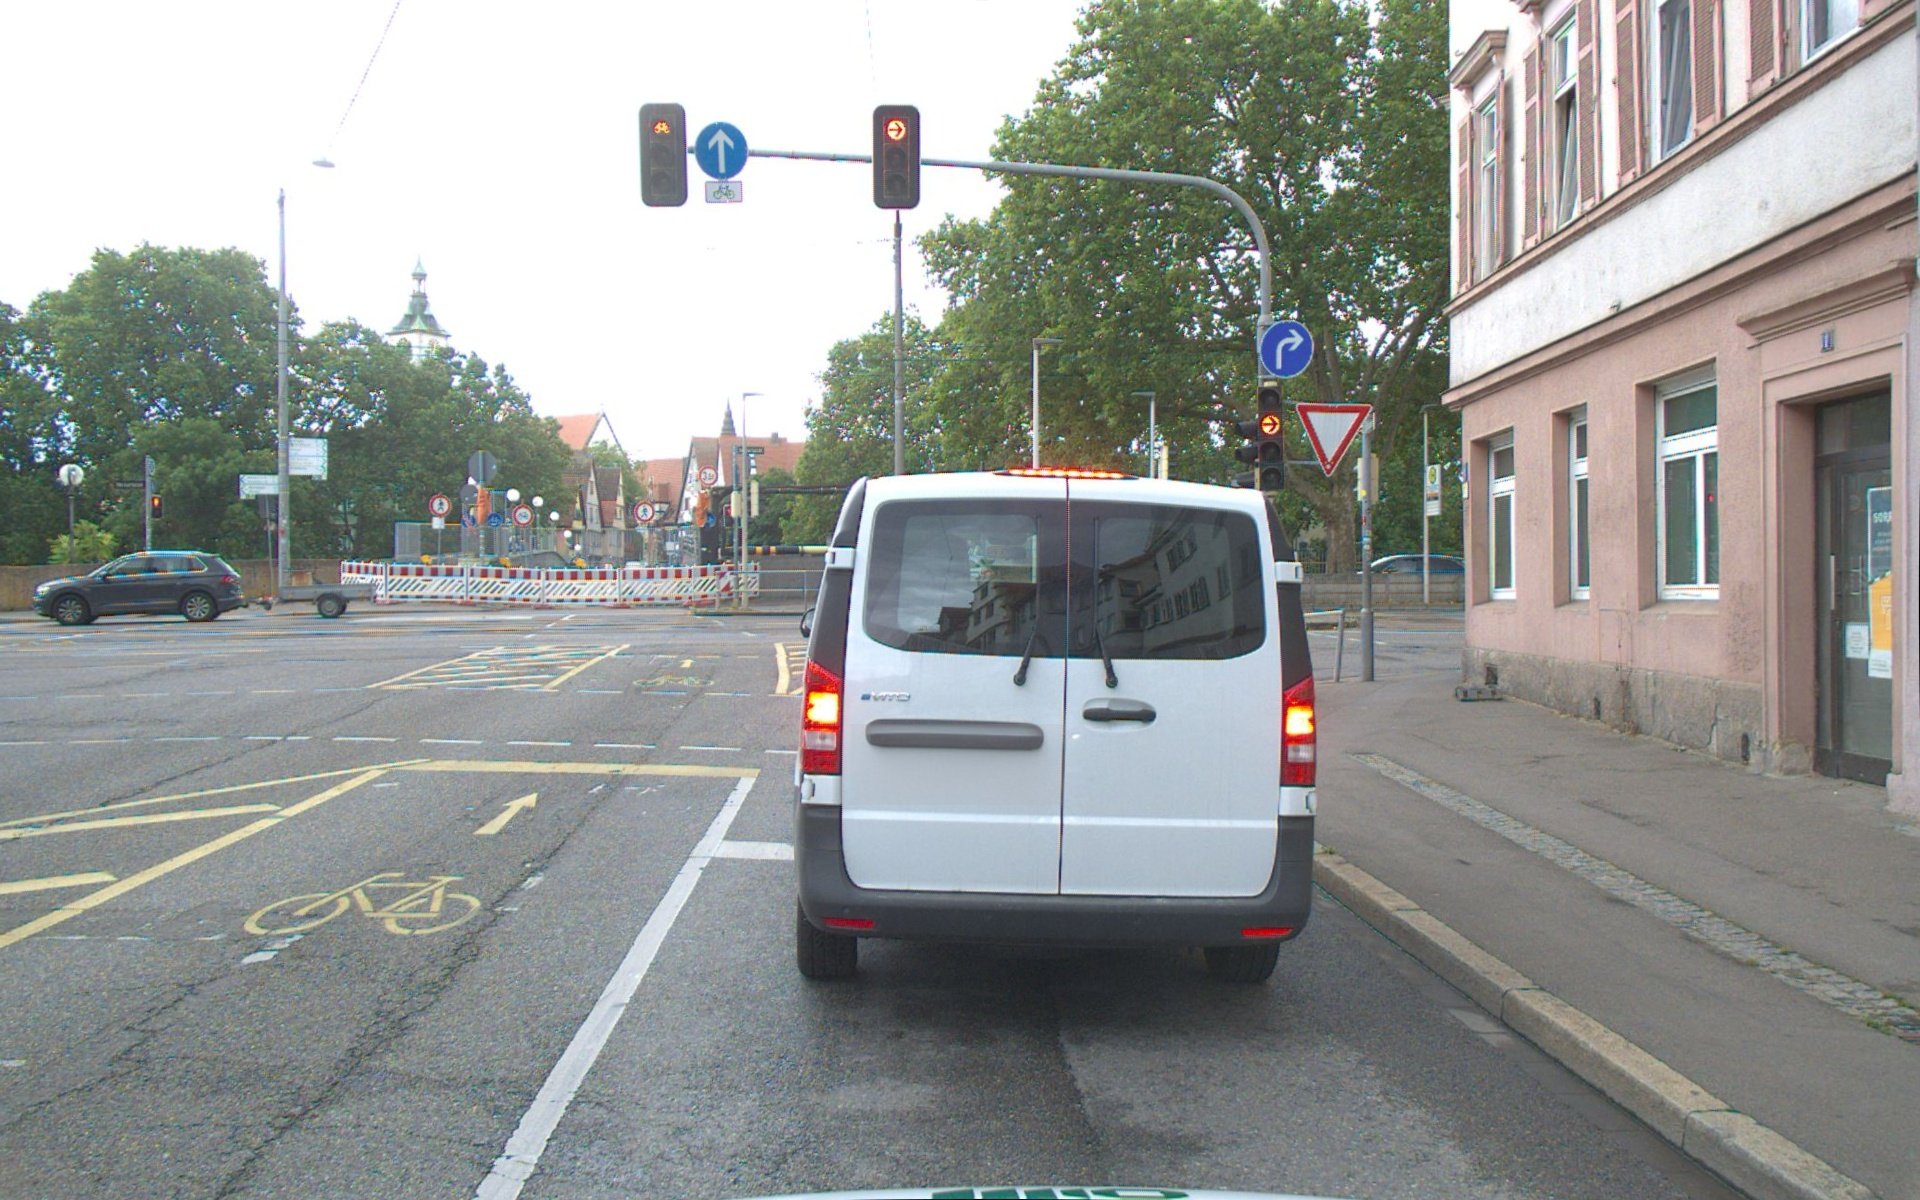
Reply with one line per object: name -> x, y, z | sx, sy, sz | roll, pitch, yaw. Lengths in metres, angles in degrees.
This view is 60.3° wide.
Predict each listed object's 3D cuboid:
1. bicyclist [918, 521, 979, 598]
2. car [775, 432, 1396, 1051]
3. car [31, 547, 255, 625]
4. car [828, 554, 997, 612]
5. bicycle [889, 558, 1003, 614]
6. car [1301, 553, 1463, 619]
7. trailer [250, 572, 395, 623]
bicyclist -> -0.347, -1.173, 48.324 | 1.538, 2.194, 1.243 | 0, 0, -15
car -> 0.338, 0.387, 7.386 | 1.953, 1.956, 4.248 | 1, 2, -2
car -> -19.019, -0.327, 38.736 | 4.452, 1.662, 1.989 | -2, 0, -20
car -> -1.279, -0.449, 43.648 | 4.200, 1.478, 1.894 | 0, 0, -12
bicycle -> -0.431, -0.424, 48.345 | 3.092, 1.597, 1.465 | 0, 0, -15
car -> 11.706, -0.353, 45.995 | 3.915, 1.771, 1.995 | 0, -1, -11
trailer -> -15.365, -0.081, 40.037 | 3.151, 1.178, 1.990 | -1, 1, -18
